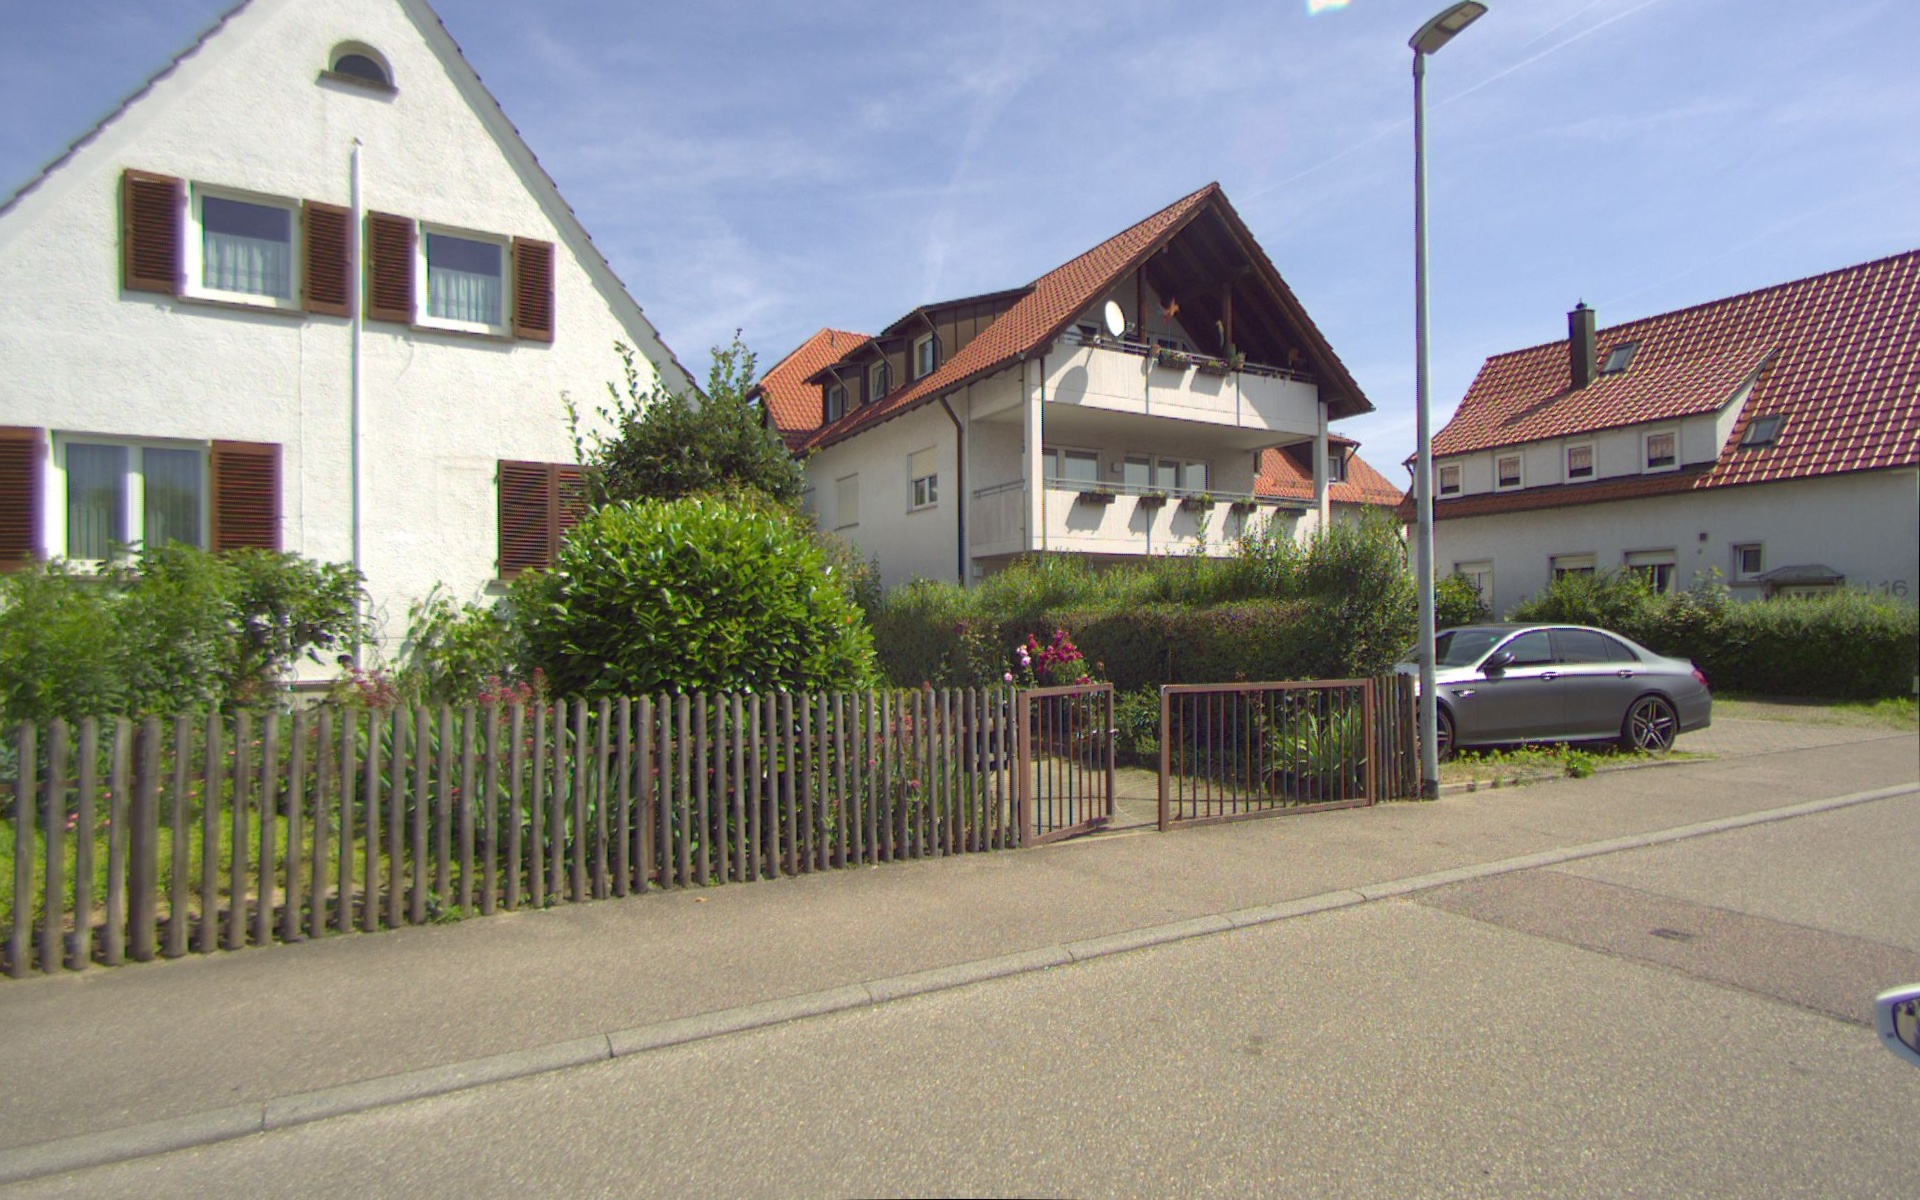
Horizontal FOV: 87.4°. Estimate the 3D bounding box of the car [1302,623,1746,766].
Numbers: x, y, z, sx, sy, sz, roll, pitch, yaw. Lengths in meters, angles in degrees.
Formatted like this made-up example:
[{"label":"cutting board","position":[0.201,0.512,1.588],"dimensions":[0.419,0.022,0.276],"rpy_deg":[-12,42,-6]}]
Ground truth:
[{"label":"car","position":[6.474,1.010,11.661],"dimensions":[4.485,1.451,1.828],"rpy_deg":[1,-1,-14]}]
